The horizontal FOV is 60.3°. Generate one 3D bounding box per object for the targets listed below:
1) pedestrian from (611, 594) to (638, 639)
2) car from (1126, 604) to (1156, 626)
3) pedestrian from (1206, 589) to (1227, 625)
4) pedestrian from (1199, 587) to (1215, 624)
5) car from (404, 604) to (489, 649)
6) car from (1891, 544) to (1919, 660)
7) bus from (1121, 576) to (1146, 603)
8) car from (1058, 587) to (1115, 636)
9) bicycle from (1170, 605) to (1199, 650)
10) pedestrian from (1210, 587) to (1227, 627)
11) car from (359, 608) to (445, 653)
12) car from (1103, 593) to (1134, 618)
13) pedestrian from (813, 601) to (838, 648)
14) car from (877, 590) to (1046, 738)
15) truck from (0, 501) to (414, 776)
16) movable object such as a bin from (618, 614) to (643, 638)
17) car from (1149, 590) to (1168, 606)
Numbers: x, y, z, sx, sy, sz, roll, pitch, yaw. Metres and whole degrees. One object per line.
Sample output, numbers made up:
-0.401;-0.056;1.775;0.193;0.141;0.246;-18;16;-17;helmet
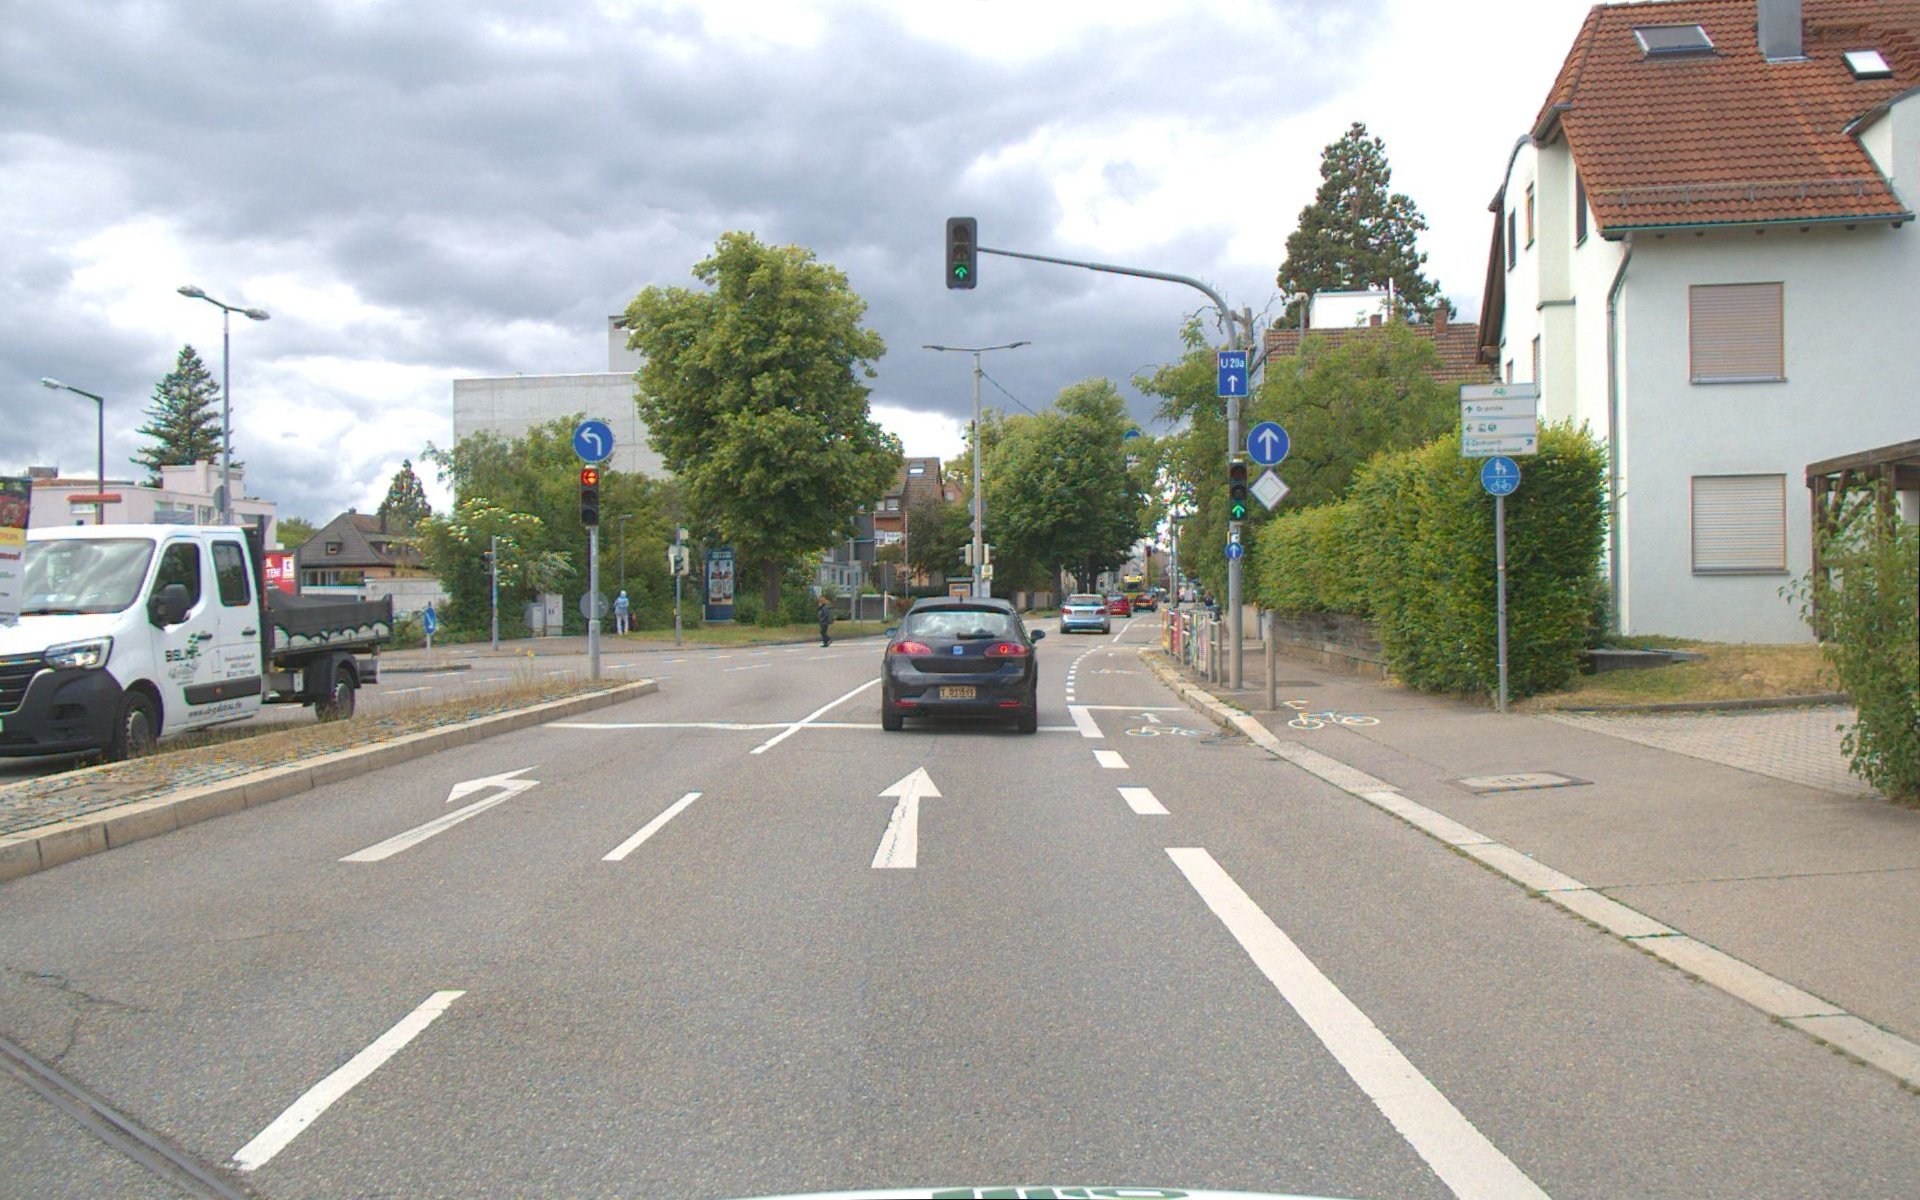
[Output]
-11.725;0.561;57.818;0.641;1.549;0.924;-1;0;5;pedestrian
15.101;1.244;137.667;1.951;1.713;4.003;-1;0;13;car
10.789;0.291;69.543;0.509;1.452;0.611;-4;0;-44;pedestrian
10.624;0.223;71.178;0.538;1.543;0.362;-3;0;17;pedestrian
-24.391;1.237;78.704;1.951;2.049;4.002;2;0;16;car
12.890;0.008;19.680;1.632;1.475;4.002;-2;0;5;car
20.926;-1.235;199.755;2.807;3.191;6.402;-1;0;7;bus
4.838;0.393;62.674;1.780;1.729;4.257;-1;0;9;car
5.327;0.646;39.253;0.614;1.046;1.505;0;0;6;bicycle
10.639;0.277;68.098;0.532;1.582;0.471;-4;0;-1;pedestrian
-26.773;1.449;79.492;1.951;2.049;4.002;2;0;16;car
10.163;0.316;106.136;1.900;1.507;4.256;-1;0;6;car
-4.220;0.758;51.878;0.758;1.432;0.600;1;1;-5;pedestrian
0.095;0.651;19.006;1.723;1.474;3.715;1;1;2;car
-8.165;0.334;17.448;2.081;2.304;6.809;-1;0;4;truck
-11.657;0.916;58.550;0.641;0.812;0.898;-1;0;5;movable object such as a bin
20.154;-0.189;168.135;1.809;1.624;4.109;-1;0;7;car
